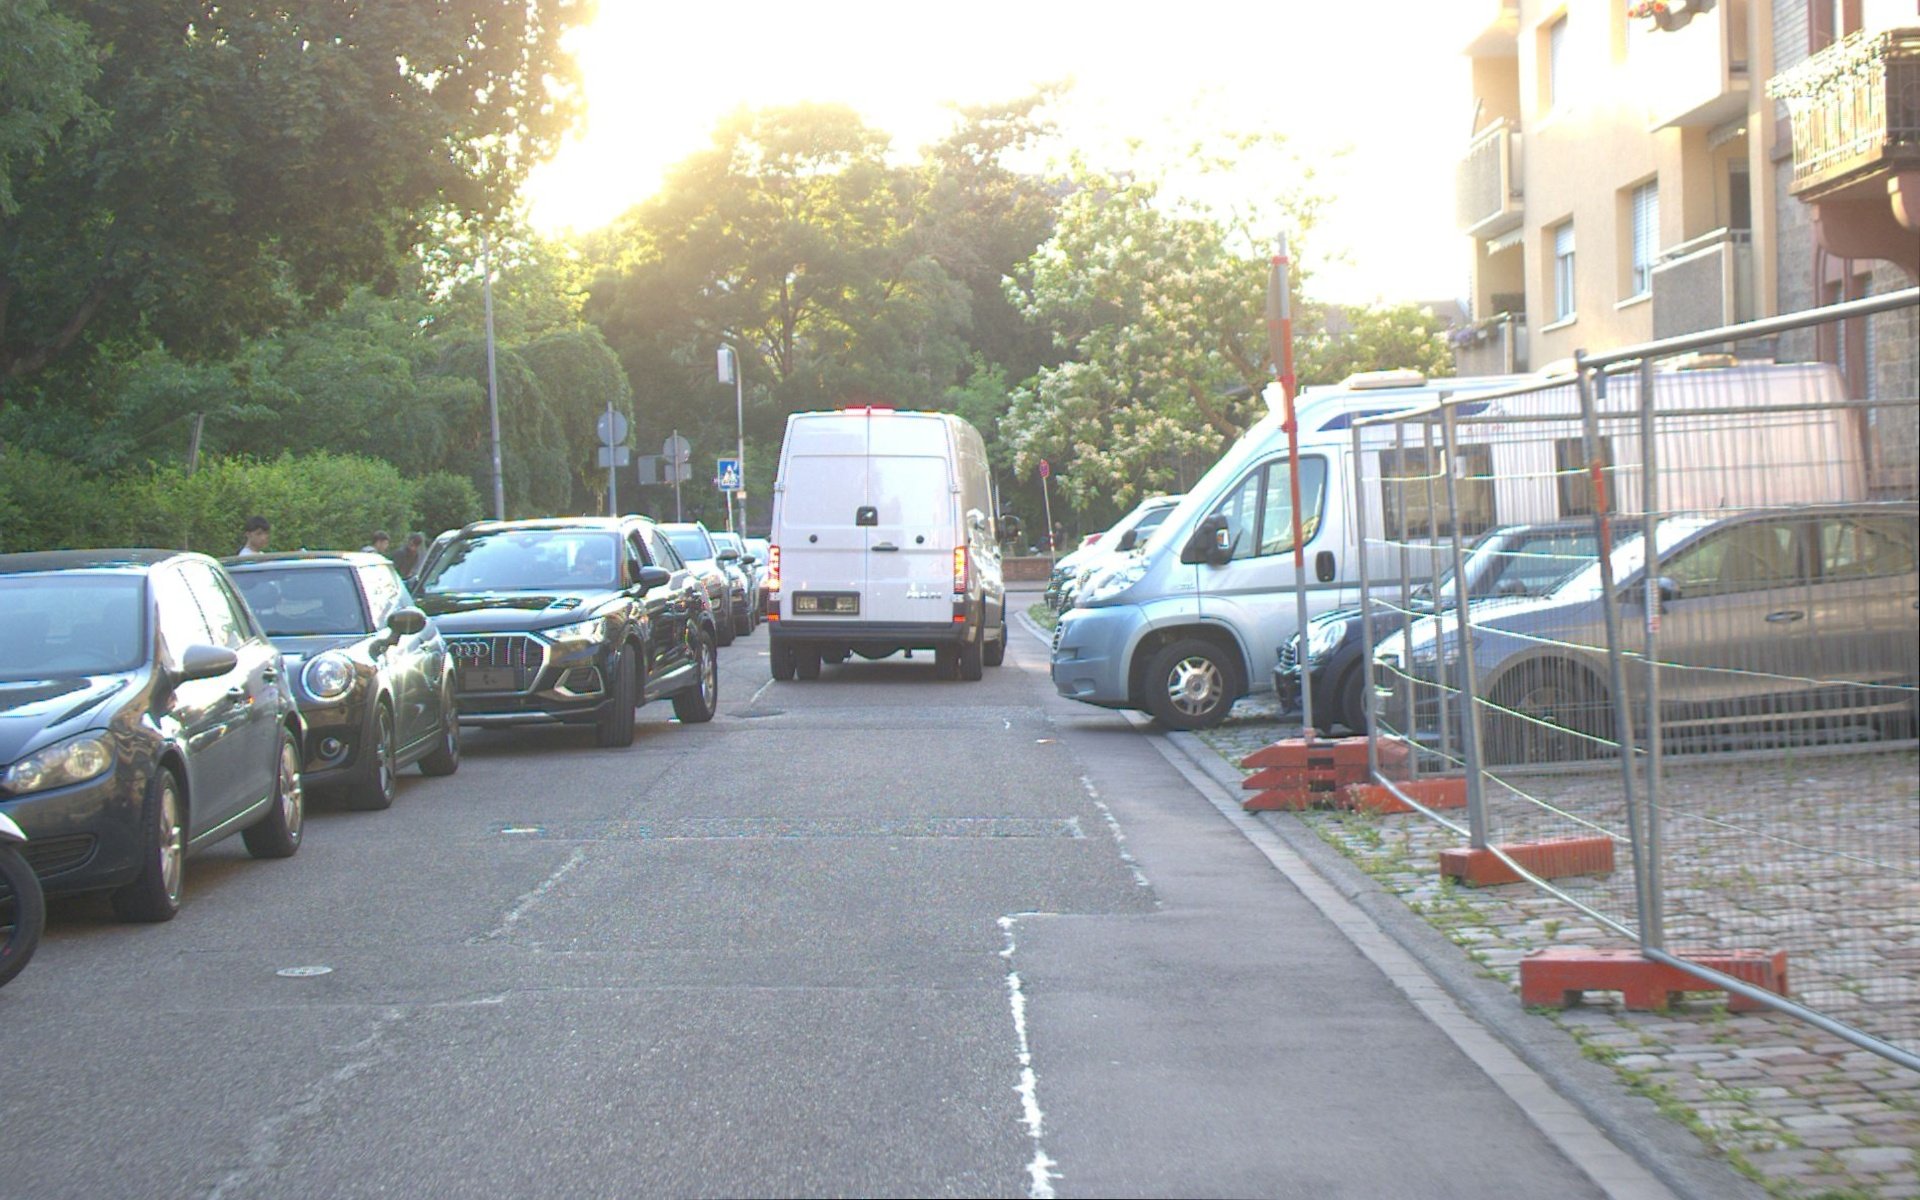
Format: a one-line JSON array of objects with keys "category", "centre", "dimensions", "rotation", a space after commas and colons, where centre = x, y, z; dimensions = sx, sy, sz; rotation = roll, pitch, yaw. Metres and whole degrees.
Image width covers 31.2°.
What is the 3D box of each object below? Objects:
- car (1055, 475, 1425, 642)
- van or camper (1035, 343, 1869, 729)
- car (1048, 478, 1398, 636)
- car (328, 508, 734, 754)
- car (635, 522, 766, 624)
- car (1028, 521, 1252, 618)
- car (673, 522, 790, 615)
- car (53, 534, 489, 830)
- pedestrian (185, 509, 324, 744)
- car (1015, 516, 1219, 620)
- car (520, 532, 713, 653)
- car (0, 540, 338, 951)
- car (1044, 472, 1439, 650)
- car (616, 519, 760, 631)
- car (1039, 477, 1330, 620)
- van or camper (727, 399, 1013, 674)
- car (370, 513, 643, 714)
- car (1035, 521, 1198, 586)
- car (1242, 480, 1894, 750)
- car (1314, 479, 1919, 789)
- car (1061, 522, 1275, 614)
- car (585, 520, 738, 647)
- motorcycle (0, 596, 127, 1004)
[{"category": "car", "centre": [3.684, -0.564, 45.818], "dimensions": [4.705, 2.138, 2.000], "rotation": [0, 1, -2]}, {"category": "van or camper", "centre": [3.572, -0.483, 25.807], "dimensions": [5.928, 2.760, 2.110], "rotation": [0, 1, -1]}, {"category": "car", "centre": [3.649, -0.614, 48.245], "dimensions": [4.705, 2.138, 2.000], "rotation": [0, 1, -2]}, {"category": "car", "centre": [-2.960, 0.159, 24.750], "dimensions": [1.805, 1.564, 4.564], "rotation": [-2, 1, 7]}, {"category": "car", "centre": [-4.234, -0.476, 56.660], "dimensions": [1.993, 1.612, 4.001], "rotation": [0, 1, -2]}, {"category": "car", "centre": [3.264, -0.571, 62.981], "dimensions": [3.987, 1.722, 2.000], "rotation": [0, 1, 0]}, {"category": "car", "centre": [-4.114, -0.594, 62.379], "dimensions": [1.993, 1.612, 4.001], "rotation": [0, 1, -2]}, {"category": "car", "centre": [-3.898, 0.395, 20.085], "dimensions": [1.637, 1.473, 3.992], "rotation": [-3, 1, 1]}, {"category": "pedestrian", "centre": [-5.558, 0.199, 27.130], "dimensions": [0.937, 1.824, 0.787], "rotation": [0, 1, -2]}, {"category": "car", "centre": [3.108, -0.648, 68.450], "dimensions": [3.987, 2.007, 2.000], "rotation": [0, 1, 2]}, {"category": "car", "centre": [-4.131, -0.126, 41.921], "dimensions": [1.993, 1.393, 4.000], "rotation": [0, 1, -1]}, {"category": "car", "centre": [-3.928, 0.529, 14.918], "dimensions": [1.715, 1.491, 4.361], "rotation": [-3, 1, -2]}, {"category": "car", "centre": [3.460, -0.502, 42.899], "dimensions": [4.705, 2.138, 2.000], "rotation": [0, 1, -2]}, {"category": "car", "centre": [-4.079, -0.404, 52.119], "dimensions": [1.993, 1.612, 4.001], "rotation": [0, 1, -2]}, {"category": "car", "centre": [3.549, -0.832, 55.004], "dimensions": [4.495, 2.223, 2.032], "rotation": [0, 1, -1]}, {"category": "van or camper", "centre": [-0.798, -0.653, 35.118], "dimensions": [2.454, 2.538, 6.083], "rotation": [1, 1, 3]}, {"category": "car", "centre": [-4.089, 0.076, 31.592], "dimensions": [1.783, 1.625, 4.000], "rotation": [-3, 1, 2]}, {"category": "car", "centre": [3.998, -1.208, 88.289], "dimensions": [3.986, 1.612, 2.000], "rotation": [0, 1, -4]}, {"category": "car", "centre": [3.939, 0.097, 22.770], "dimensions": [3.935, 1.481, 1.787], "rotation": [-3, 0, 1]}, {"category": "car", "centre": [4.273, 0.142, 20.168], "dimensions": [3.986, 1.510, 2.020], "rotation": [-4, 1, -4]}, {"category": "car", "centre": [3.956, -0.622, 65.822], "dimensions": [3.987, 1.722, 2.000], "rotation": [0, 1, 0]}, {"category": "car", "centre": [-4.074, -0.253, 47.142], "dimensions": [1.993, 1.656, 4.001], "rotation": [-1, 1, -4]}, {"category": "motorcycle", "centre": [-4.041, 0.643, 11.726], "dimensions": [2.165, 1.299, 0.879], "rotation": [0, 1, 14]}]
